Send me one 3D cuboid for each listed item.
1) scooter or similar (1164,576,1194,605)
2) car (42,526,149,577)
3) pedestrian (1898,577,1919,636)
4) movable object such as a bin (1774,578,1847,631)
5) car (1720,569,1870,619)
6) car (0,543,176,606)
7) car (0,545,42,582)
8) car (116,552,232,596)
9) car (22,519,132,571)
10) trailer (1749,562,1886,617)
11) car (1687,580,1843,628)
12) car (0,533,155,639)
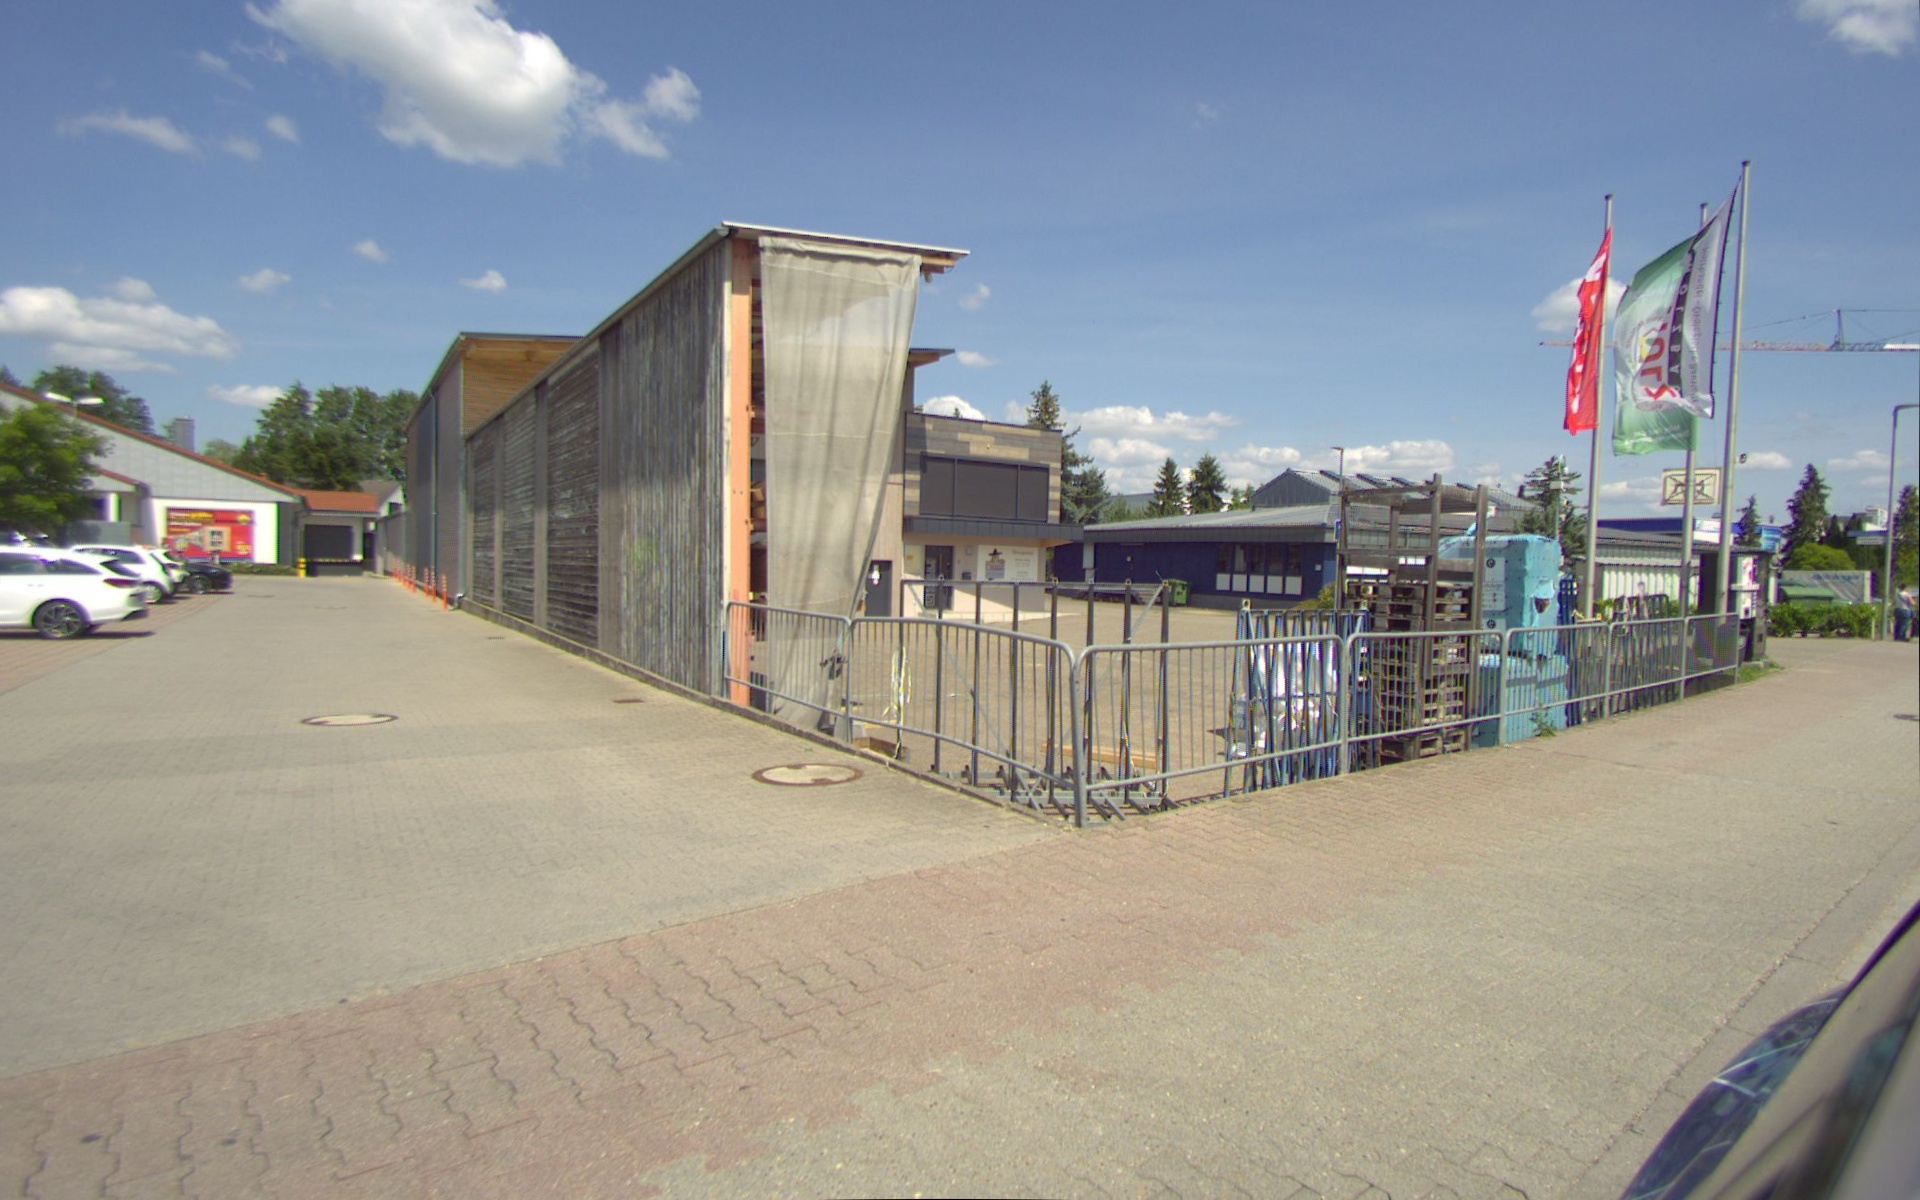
[{"bbox_3d":[10.743,-0.497,49.735,0.907,1.337,1.116,-2,4,-32],"label":"scooter or similar"},{"bbox_3d":[-30.334,-1.705,35.580,2.651,1.707,1.301,0,3,-30],"label":"car"},{"bbox_3d":[25.910,0.173,27.455,0.502,1.558,0.536,0,3,-43],"label":"pedestrian"},{"bbox_3d":[24.477,0.119,29.146,1.247,1.476,1.046,0,0,11],"label":"movable object such as a bin"},{"bbox_3d":[32.082,-0.294,38.958,1.771,1.653,4.219,-3,5,-43],"label":"car"},{"bbox_3d":[-23.436,-0.675,27.006,3.926,1.593,1.585,0,2,-37],"label":"car"},{"bbox_3d":[-33.357,-1.271,33.763,3.710,1.187,1.618,1,3,-26],"label":"car"},{"bbox_3d":[-25.033,-0.811,32.251,2.762,1.325,1.494,0,2,-45],"label":"car"},{"bbox_3d":[-28.679,-1.789,32.957,2.623,1.586,1.225,0,3,-38],"label":"car"},{"bbox_3d":[34.672,-0.436,40.963,1.965,2.039,3.993,4,-1,-42],"label":"trailer"},{"bbox_3d":[26.966,0.079,33.984,1.786,1.473,3.852,0,2,-41],"label":"car"},{"bbox_3d":[-16.149,-0.258,16.638,4.352,1.682,2.001,1,1,-34],"label":"car"}]
